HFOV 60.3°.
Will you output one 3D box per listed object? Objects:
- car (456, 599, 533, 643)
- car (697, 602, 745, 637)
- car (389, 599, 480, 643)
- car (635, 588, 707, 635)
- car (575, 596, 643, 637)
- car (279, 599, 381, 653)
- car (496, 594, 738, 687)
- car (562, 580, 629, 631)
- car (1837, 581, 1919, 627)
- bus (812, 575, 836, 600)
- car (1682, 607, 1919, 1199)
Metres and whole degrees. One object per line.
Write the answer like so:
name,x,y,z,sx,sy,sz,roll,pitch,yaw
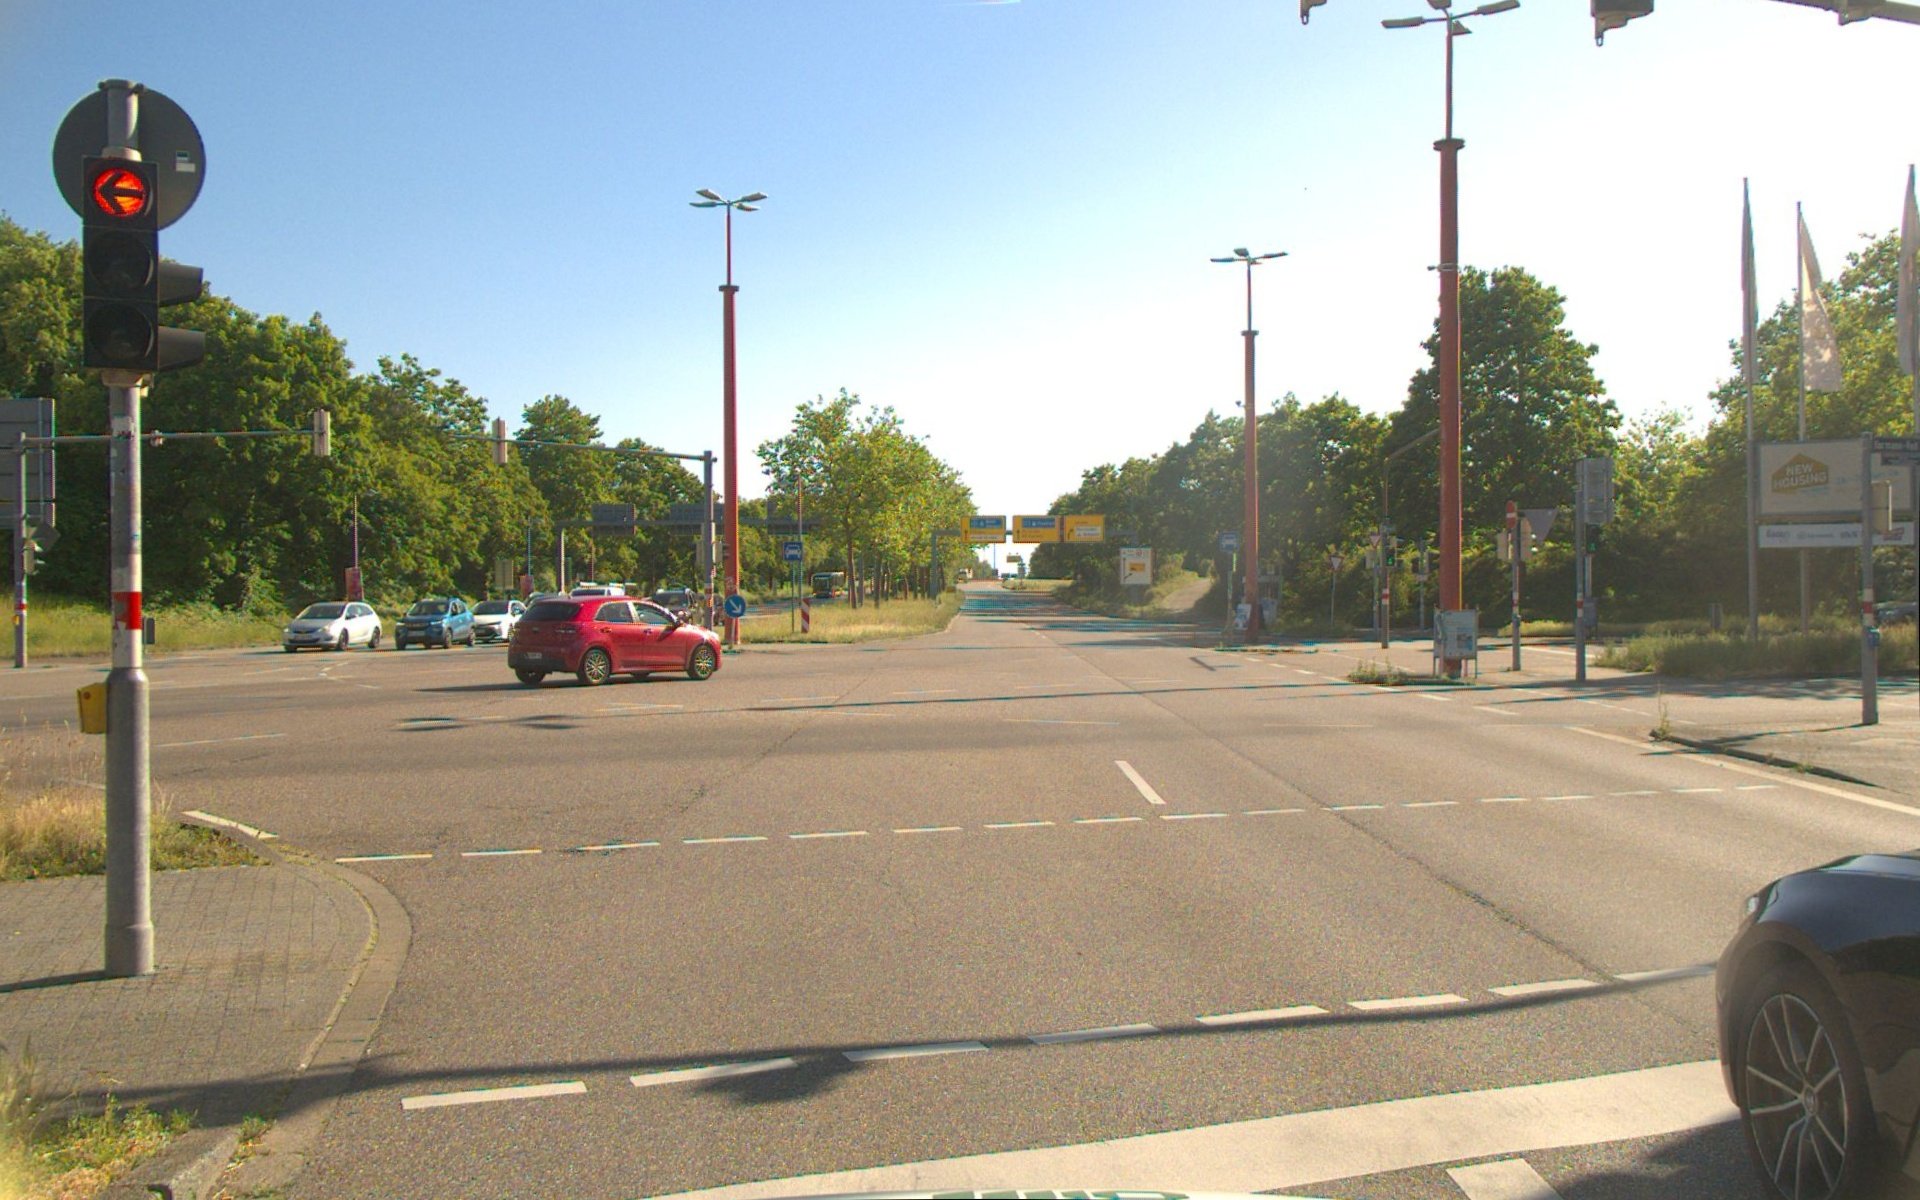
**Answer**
car,-15.931,0.703,56.787,1.704,1.436,3.611,0,0,-2
car,-11.562,0.926,80.080,1.782,1.657,3.999,0,0,-1
car,-16.055,0.613,50.670,1.704,1.265,3.611,0,0,-2
car,-9.768,0.382,56.188,1.782,1.534,3.999,0,0,-1
car,-12.281,0.555,58.069,1.704,1.386,3.611,0,0,-2
car,-19.424,0.774,51.168,1.725,1.559,3.934,0,0,-2
car,-5.806,0.637,28.403,1.652,1.460,4.050,0,0,36
car,-15.540,0.235,70.815,1.855,2.061,5.221,0,0,-2
car,32.164,0.117,55.799,4.227,1.511,1.785,0,0,-1
bus,-18.326,-1.719,223.292,2.441,3.295,9.998,0,0,-1
car,2.907,0.735,2.355,1.831,1.422,4.443,0,0,0
